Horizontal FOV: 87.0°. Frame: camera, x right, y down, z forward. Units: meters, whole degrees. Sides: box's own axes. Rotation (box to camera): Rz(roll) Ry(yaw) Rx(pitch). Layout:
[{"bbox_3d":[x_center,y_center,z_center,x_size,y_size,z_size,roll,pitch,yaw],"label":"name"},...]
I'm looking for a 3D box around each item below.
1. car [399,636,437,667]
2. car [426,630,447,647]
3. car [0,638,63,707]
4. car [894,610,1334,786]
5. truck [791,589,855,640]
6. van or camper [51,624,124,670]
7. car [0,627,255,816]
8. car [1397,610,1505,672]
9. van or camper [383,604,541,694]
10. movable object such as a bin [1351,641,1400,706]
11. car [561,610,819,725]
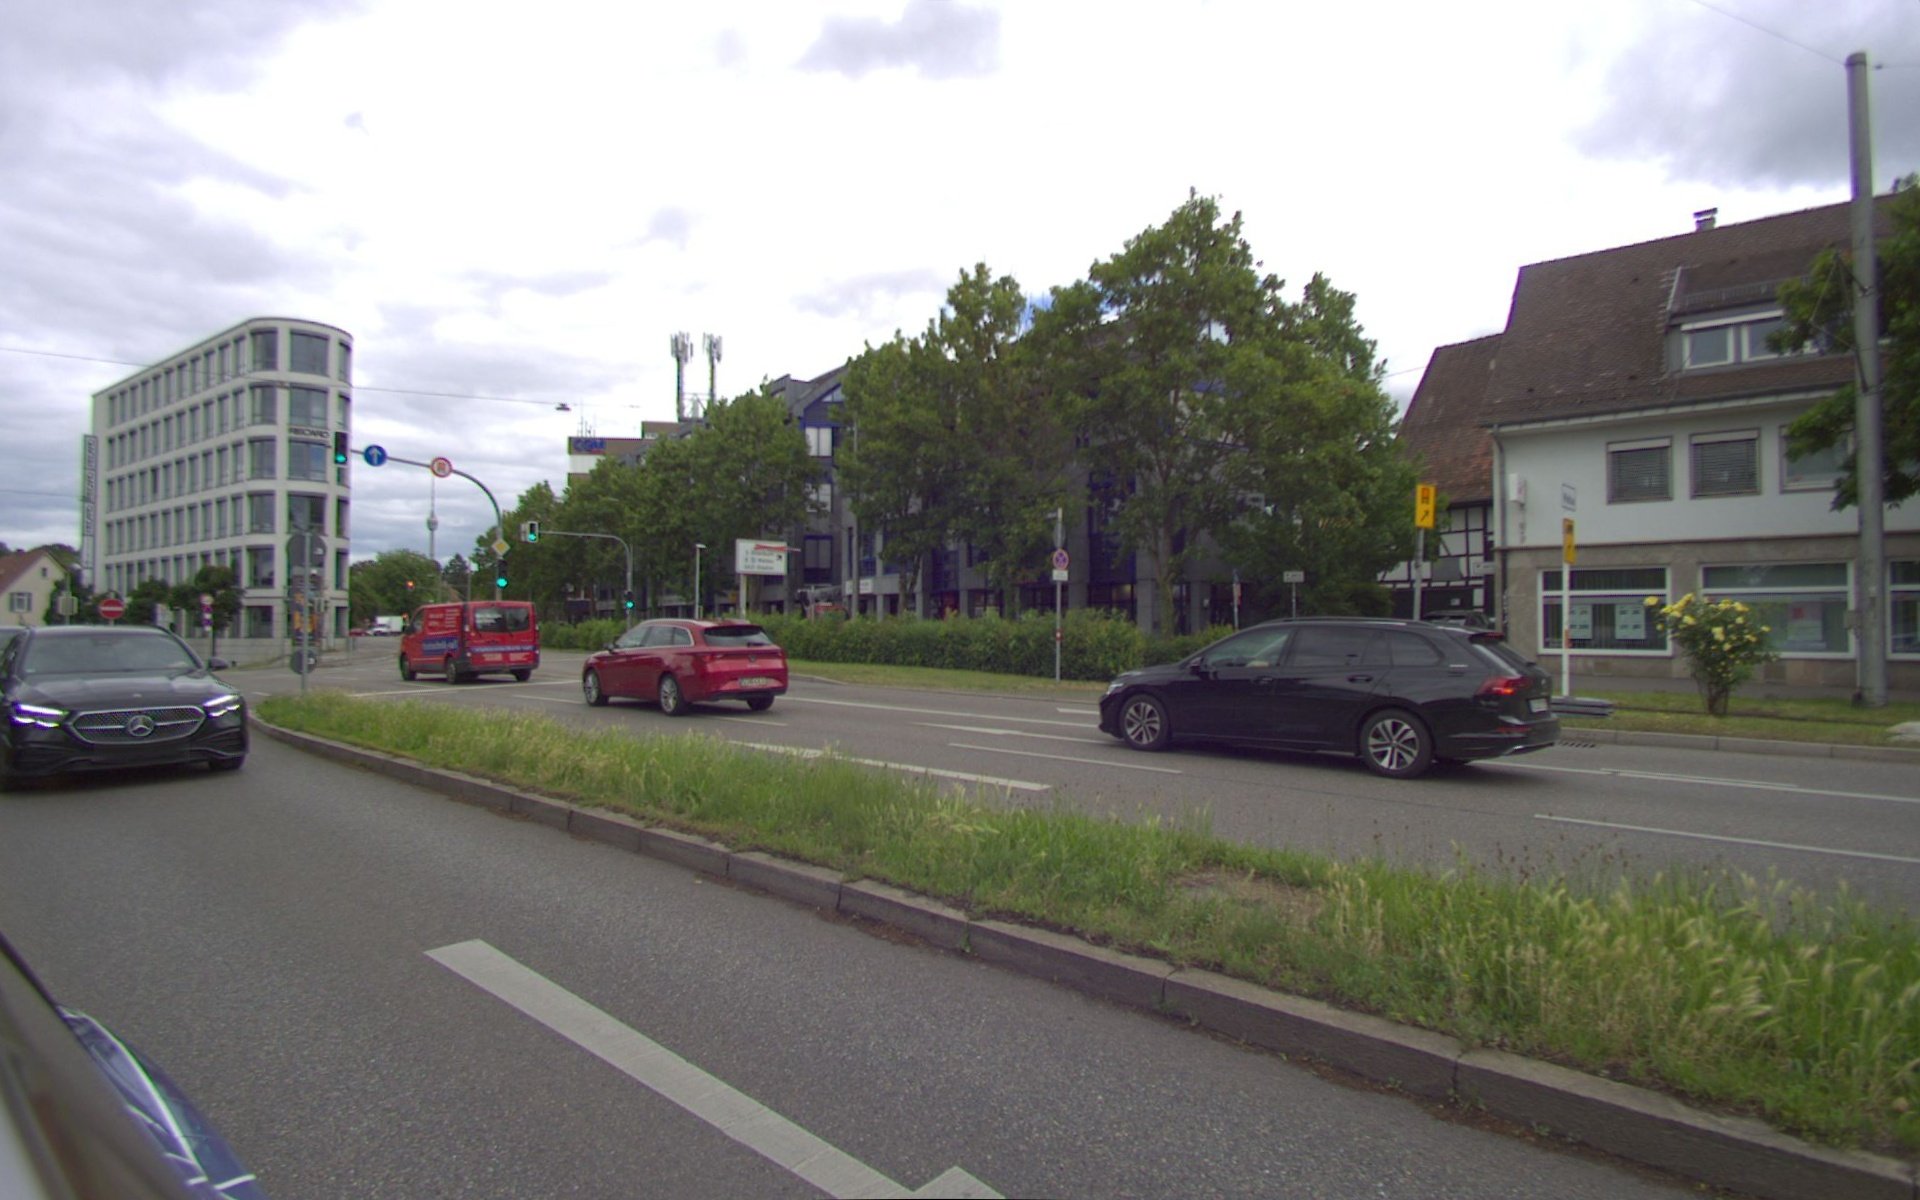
[{"bbox_3d":[-29.683,2.762,55.427,1.751,1.474,4.454,-2,0,-28],"label":"car"},{"bbox_3d":[-51.627,3.797,99.816,1.689,1.474,4.454,-2,0,-28],"label":"car"},{"bbox_3d":[-23.106,1.790,24.088,3.992,1.542,1.856,-6,-4,36],"label":"car"},{"bbox_3d":[1.488,0.934,10.997,4.395,1.511,1.971,-3,-3,44],"label":"car"},{"bbox_3d":[-7.225,0.800,52.994,1.966,2.405,4.012,-2,-2,-28],"label":"truck"},{"bbox_3d":[-40.113,2.118,46.486,5.247,1.952,1.906,-2,-1,42],"label":"van or camper"},{"bbox_3d":[-8.996,1.094,10.522,4.335,1.541,1.853,-2,-2,43],"label":"car"},{"bbox_3d":[13.989,1.129,28.753,1.721,1.623,3.645,-2,-2,43],"label":"car"},{"bbox_3d":[-12.680,1.186,25.599,5.198,2.029,1.971,-2,-2,44],"label":"van or camper"},{"bbox_3d":[6.989,1.229,17.035,0.595,1.050,0.687,-2,-2,36],"label":"movable object such as a bin"},{"bbox_3d":[-4.543,0.996,16.501,1.970,1.602,4.838,1,-2,-44],"label":"car"}]
